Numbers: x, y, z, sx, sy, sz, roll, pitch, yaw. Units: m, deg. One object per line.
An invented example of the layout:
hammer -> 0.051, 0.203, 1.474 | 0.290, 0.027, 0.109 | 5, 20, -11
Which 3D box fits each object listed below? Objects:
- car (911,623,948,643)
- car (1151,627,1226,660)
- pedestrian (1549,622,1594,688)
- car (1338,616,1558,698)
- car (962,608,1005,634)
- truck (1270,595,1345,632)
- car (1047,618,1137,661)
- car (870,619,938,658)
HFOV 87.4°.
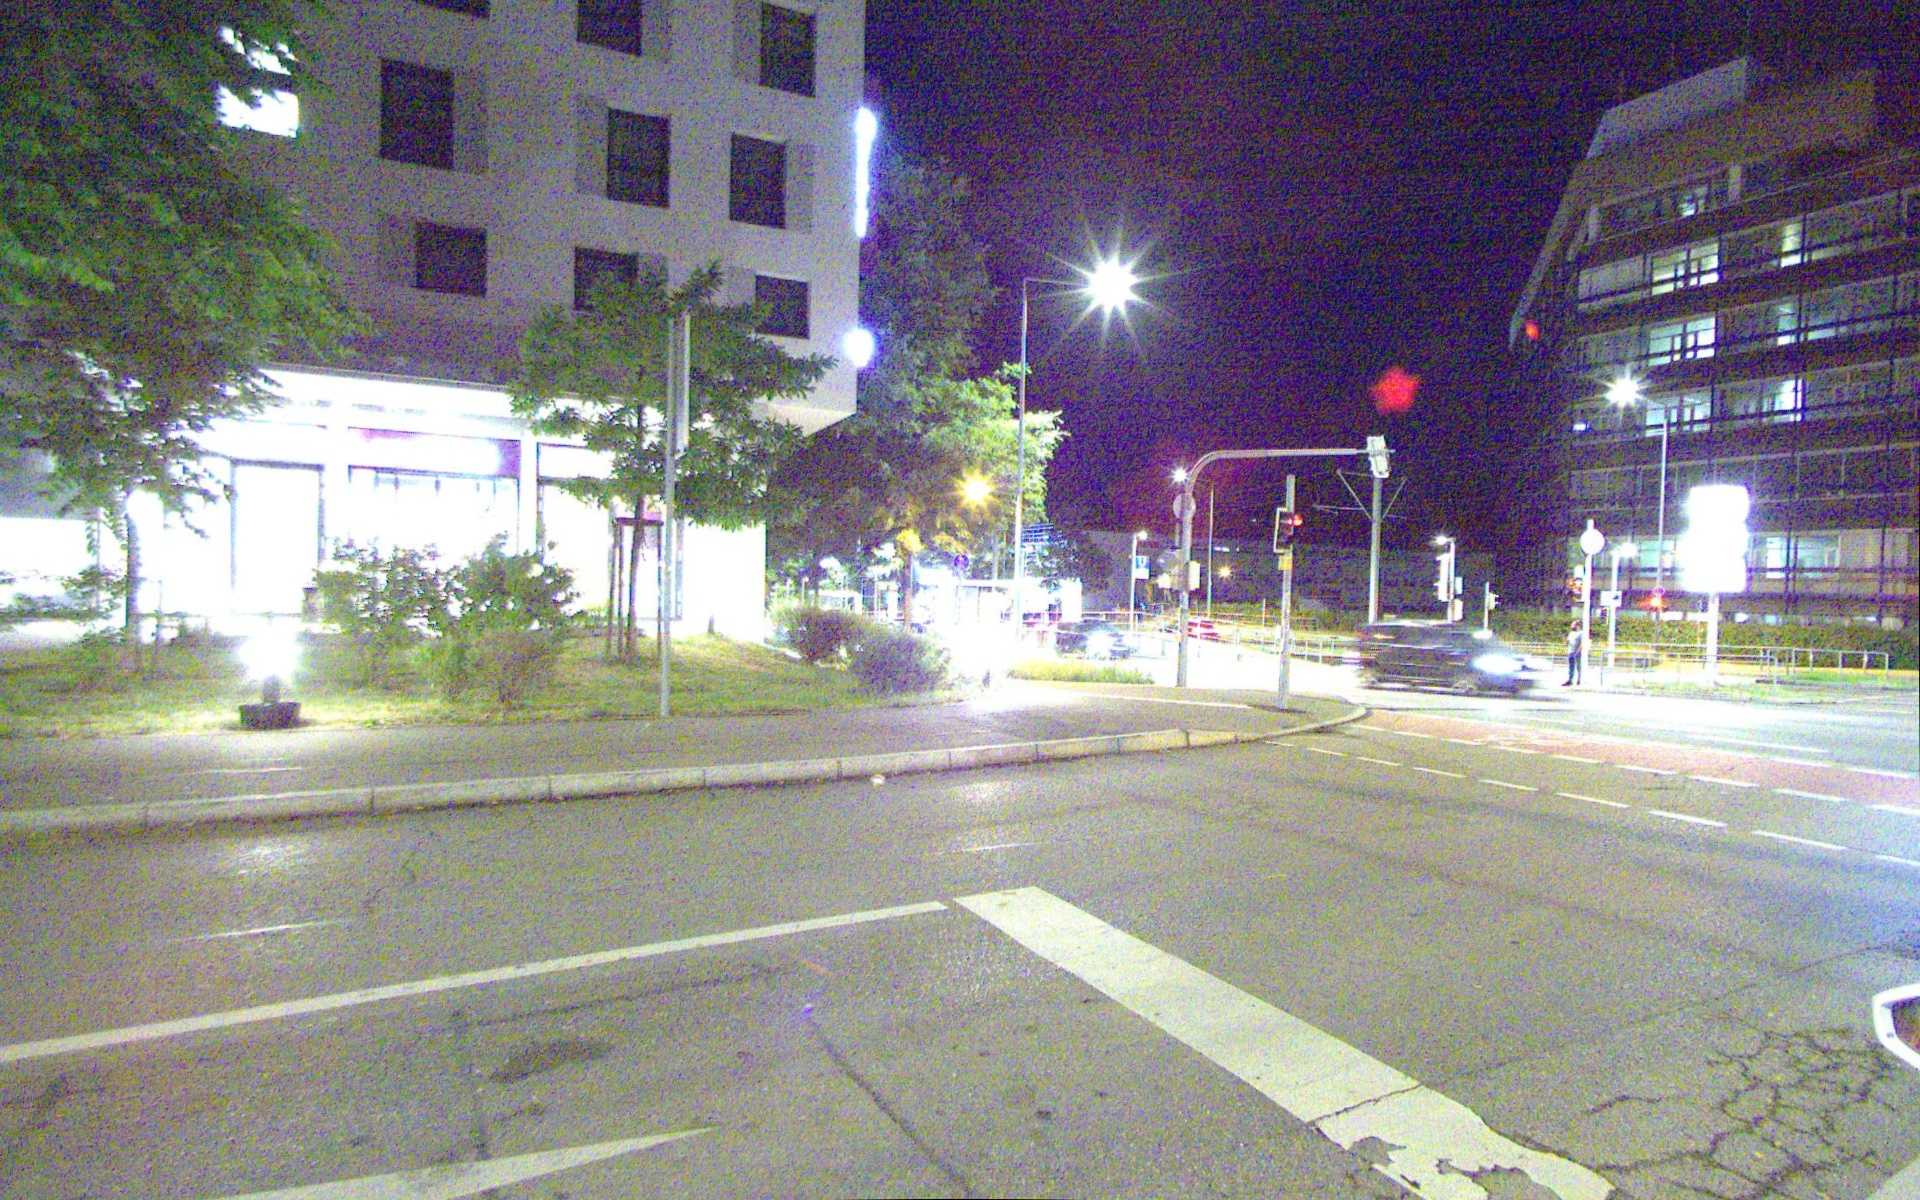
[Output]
car -> -3.012, 3.214, 98.439 | 1.820, 1.837, 4.134 | 3, -1, -29
car -> 13.747, 2.623, 60.775 | 1.974, 1.751, 4.602 | 2, 0, -26
pedestrian -> 15.770, 1.402, 25.900 | 0.854, 1.656, 0.665 | 2, 0, -34
car -> 10.967, 1.255, 22.910 | 1.786, 1.673, 4.328 | 0, -2, -27
car -> 1.959, 1.781, 85.737 | 1.974, 2.001, 4.168 | 2, 0, -26
truck -> 30.884, 1.173, 89.543 | 2.877, 3.129, 5.873 | 2, 0, -28
car -> 5.533, 1.620, 42.691 | 1.837, 1.681, 4.436 | 0, -1, -23
car -> -2.657, 1.745, 46.522 | 1.786, 1.684, 3.975 | 2, -2, -25
